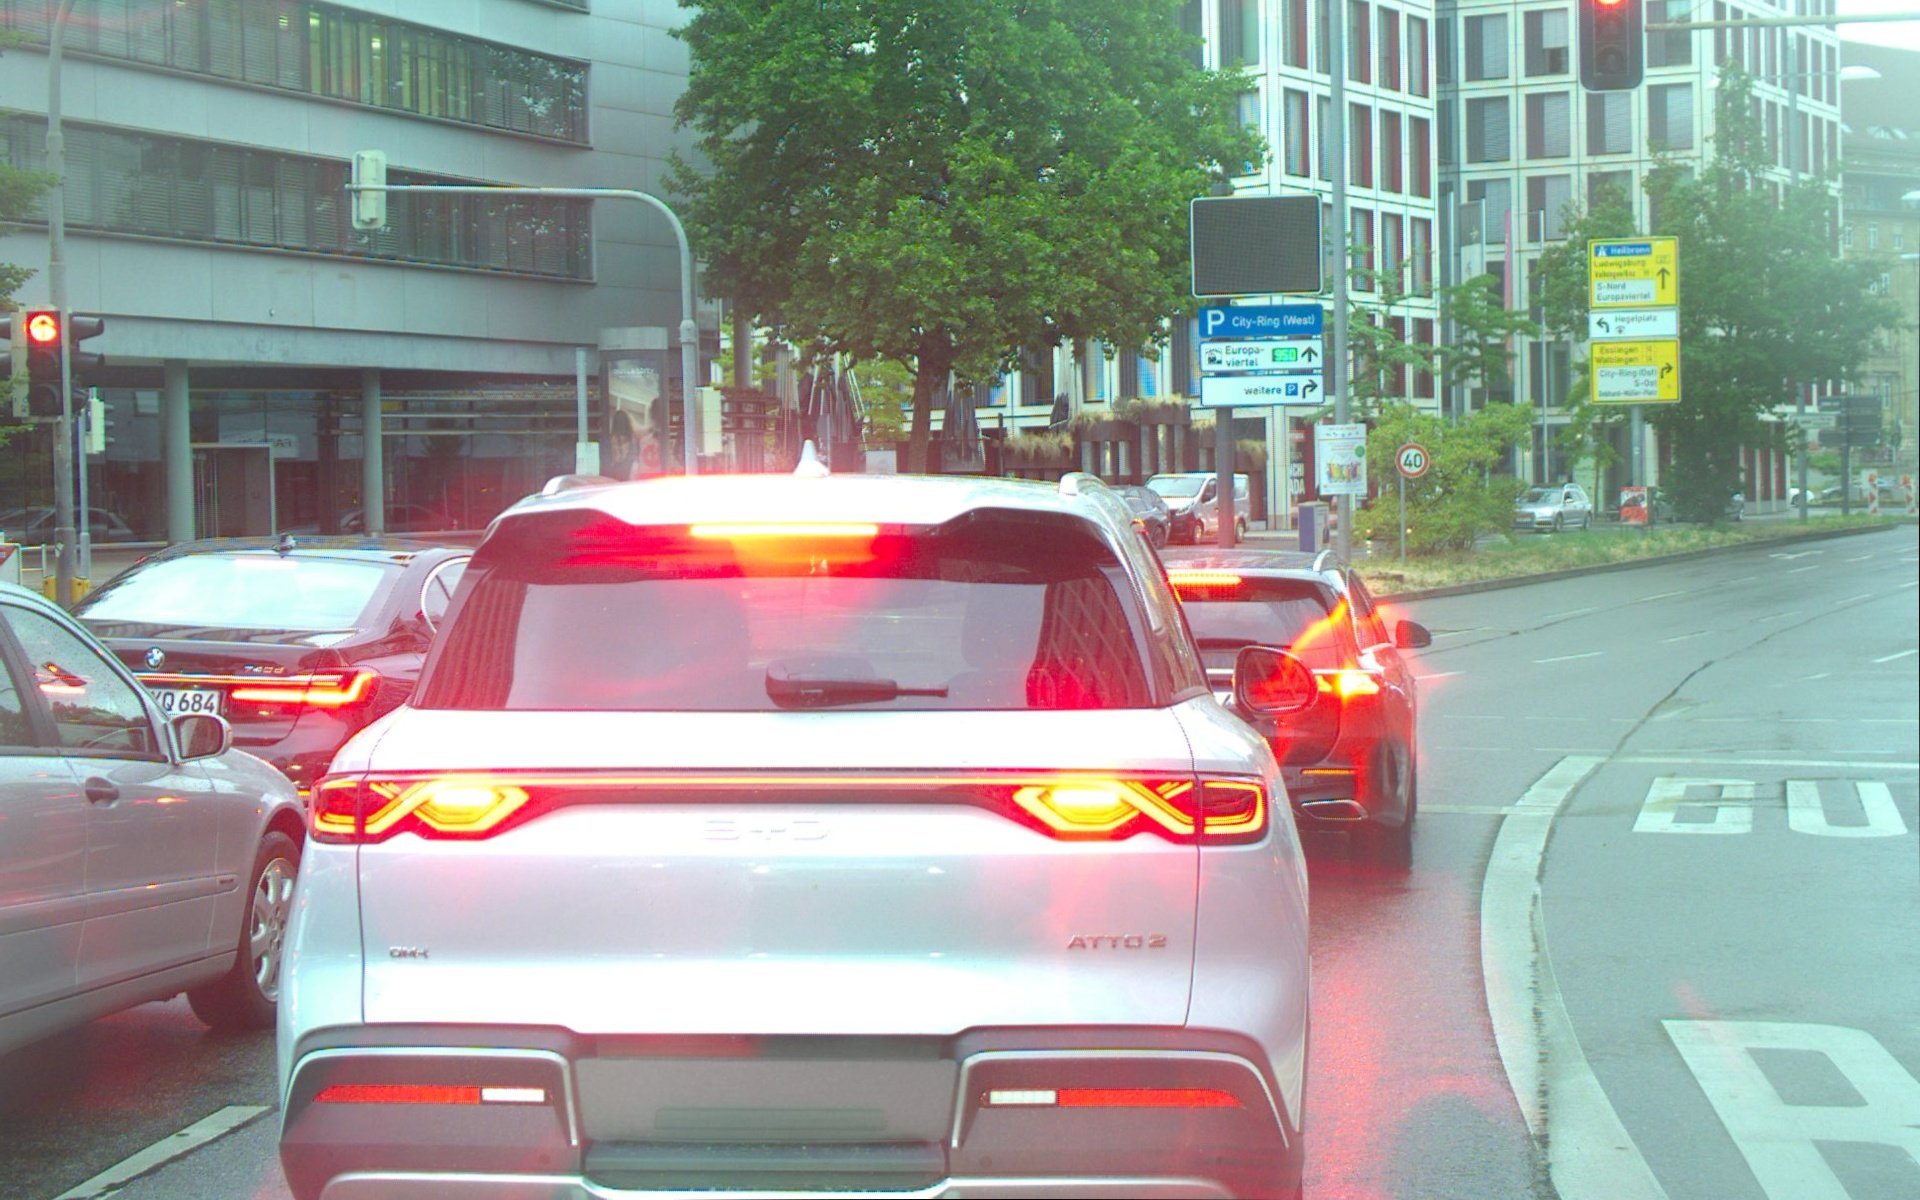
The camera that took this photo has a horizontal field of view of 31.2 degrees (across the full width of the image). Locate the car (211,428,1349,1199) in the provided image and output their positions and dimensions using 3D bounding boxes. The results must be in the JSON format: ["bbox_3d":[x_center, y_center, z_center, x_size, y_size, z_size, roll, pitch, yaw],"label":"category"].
[{"bbox_3d":[-0.238,0.557,7.395,1.776,1.673,4.000,1,1,2],"label":"car"}]

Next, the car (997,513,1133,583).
[{"bbox_3d":[2.510,-1.244,81.170,1.633,1.553,4.588,0,2,23],"label":"car"}]

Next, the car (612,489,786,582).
[{"bbox_3d":[-4.469,-1.120,59.424,1.645,1.530,4.149,1,1,16],"label":"car"}]

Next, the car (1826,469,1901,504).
[{"bbox_3d":[52.424,-6.573,199.424,3.991,2.007,1.998,1,1,20],"label":"car"}]

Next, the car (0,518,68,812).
[{"bbox_3d":[-5.871,0.327,16.284,1.707,1.481,3.998,1,1,9],"label":"car"}]

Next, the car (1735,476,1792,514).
[{"bbox_3d":[38.298,-4.996,163.814,1.609,1.735,3.439,1,1,32],"label":"car"}]

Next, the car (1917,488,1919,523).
[{"bbox_3d":[40.797,-3.936,142.584,1.633,1.432,3.903,0,2,23],"label":"car"}]

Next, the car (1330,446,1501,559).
[{"bbox_3d":[8.669,-1.812,65.061,1.996,2.007,4.843,1,1,23],"label":"car"}]

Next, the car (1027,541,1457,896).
[{"bbox_3d":[1.478,0.482,16.646,1.694,1.481,3.998,1,1,10],"label":"car"}]

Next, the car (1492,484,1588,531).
[{"bbox_3d":[19.065,-3.053,112.953,1.996,1.483,3.994,0,2,27],"label":"car"}]

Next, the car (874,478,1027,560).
[{"bbox_3d":[-0.153,-1.617,68.416,1.645,1.575,4.081,1,1,21],"label":"car"}]

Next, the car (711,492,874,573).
[{"bbox_3d":[-3.351,-1.351,69.494,1.640,1.565,3.713,1,1,27],"label":"car"}]

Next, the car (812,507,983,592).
[{"bbox_3d":[-1.033,-0.852,58.797,1.692,1.380,3.865,1,1,19],"label":"car"}]

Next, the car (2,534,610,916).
[{"bbox_3d":[-2.789,0.470,15.544,1.571,1.481,3.999,1,1,7],"label":"car"}]

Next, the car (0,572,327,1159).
[{"bbox_3d":[-3.027,0.633,8.880,1.571,1.402,4.108,1,1,7],"label":"car"}]

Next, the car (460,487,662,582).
[{"bbox_3d":[-7.102,-1.185,61.612,1.995,1.605,3.996,2,2,20],"label":"car"}]

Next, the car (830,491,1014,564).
[{"bbox_3d":[-0.769,-1.606,74.779,1.816,1.505,5.189,0,2,27],"label":"car"}]
